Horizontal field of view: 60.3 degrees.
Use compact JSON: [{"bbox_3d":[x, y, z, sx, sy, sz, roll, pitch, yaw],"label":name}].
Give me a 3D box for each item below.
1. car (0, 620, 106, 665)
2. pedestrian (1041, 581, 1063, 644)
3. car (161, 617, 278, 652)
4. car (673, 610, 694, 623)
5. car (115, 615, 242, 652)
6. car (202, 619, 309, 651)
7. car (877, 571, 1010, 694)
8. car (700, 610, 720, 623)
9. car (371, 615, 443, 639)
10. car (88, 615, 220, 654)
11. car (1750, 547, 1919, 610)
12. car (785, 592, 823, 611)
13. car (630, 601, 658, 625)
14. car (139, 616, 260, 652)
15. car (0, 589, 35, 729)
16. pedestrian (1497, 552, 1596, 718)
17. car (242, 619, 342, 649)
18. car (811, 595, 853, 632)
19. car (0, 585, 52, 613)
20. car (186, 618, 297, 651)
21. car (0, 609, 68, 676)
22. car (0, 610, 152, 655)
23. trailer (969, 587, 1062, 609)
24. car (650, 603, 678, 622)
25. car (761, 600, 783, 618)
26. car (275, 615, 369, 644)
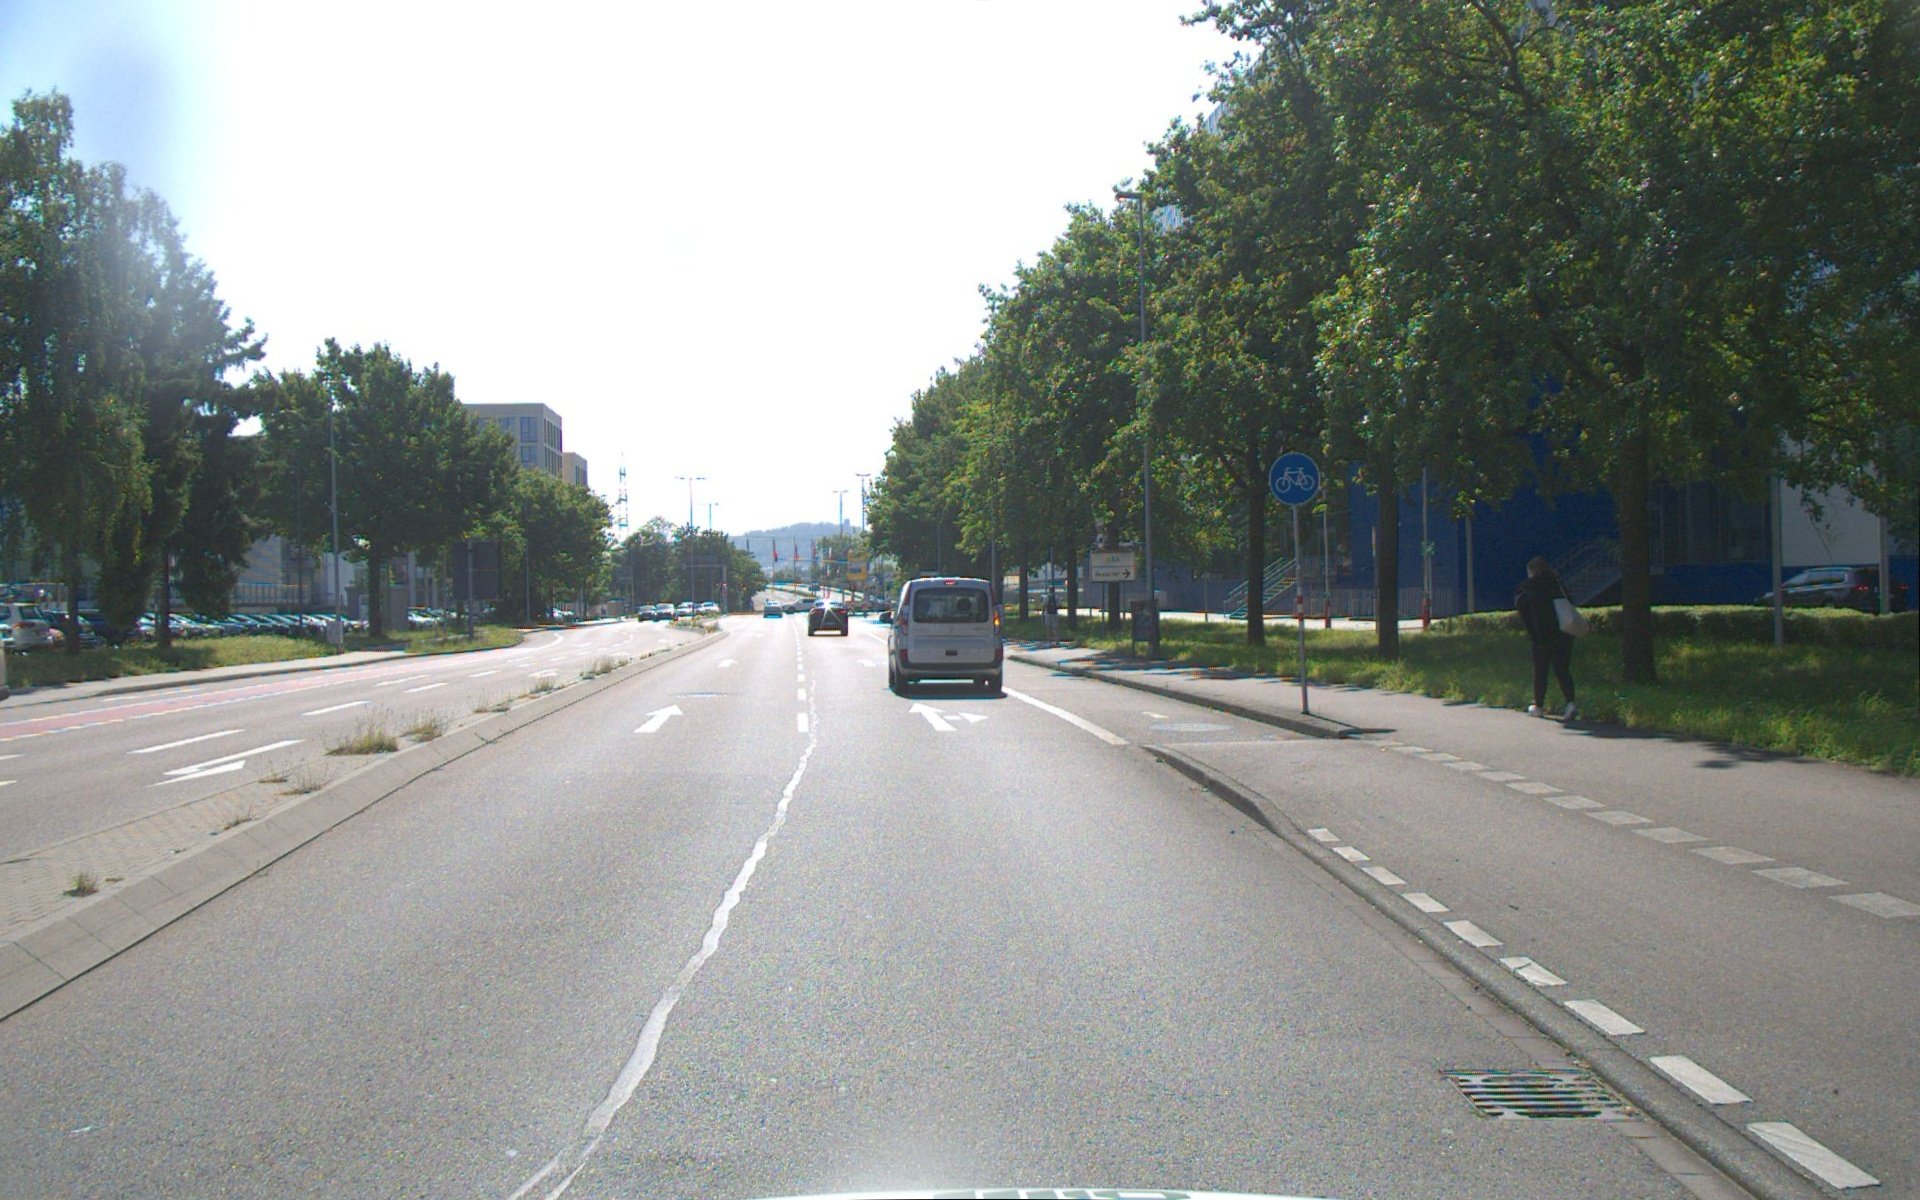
[{"bbox_3d":[-30.681,1.417,54.323,4.181,1.351,1.952,-2,0,-3],"label":"car"},{"bbox_3d":[2.775,0.386,49.911,0.524,1.874,0.727,-1,0,-5],"label":"pedestrian"},{"bbox_3d":[-32.444,1.495,72.554,4.181,1.374,1.952,-2,0,-3],"label":"car"},{"bbox_3d":[-33.543,1.967,200.850,1.853,1.489,3.999,-2,0,-1],"label":"car"},{"bbox_3d":[-31.848,1.345,67.488,4.181,1.374,1.952,-2,0,-3],"label":"car"},{"bbox_3d":[-33.148,1.649,77.955,4.181,1.374,1.952,-2,0,-3],"label":"car"},{"bbox_3d":[-0.354,0.506,27.715,1.868,1.861,4.175,-2,0,-5],"label":"car"},{"bbox_3d":[-30.557,1.982,202.340,1.779,1.489,3.999,-2,0,-1],"label":"car"},{"bbox_3d":[-35.205,1.692,105.327,3.963,1.400,2.023,-2,0,-6],"label":"car"},{"bbox_3d":[-31.467,1.350,64.659,4.181,1.374,1.952,-2,0,-3],"label":"car"},{"bbox_3d":[23.289,-0.532,44.123,1.870,1.547,4.366,-2,0,-8],"label":"car"},{"bbox_3d":[-17.652,0.187,186.797,3.928,2.049,1.989,1,1,-20],"label":"car"},{"bbox_3d":[-28.467,1.167,149.001,1.954,2.048,3.997,1,1,-4],"label":"car"},{"bbox_3d":[-32.127,1.434,69.996,4.181,1.374,1.952,-2,0,-3],"label":"car"},{"bbox_3d":[-14.978,0.900,22.348,1.953,2.049,5.345,-2,0,-1],"label":"car"},{"bbox_3d":[5.994,0.349,16.940,0.634,1.631,0.846,-2,0,-5],"label":"pedestrian"},{"bbox_3d":[-33.539,1.708,83.104,4.181,1.374,1.952,-2,0,-3],"label":"car"},{"bbox_3d":[-6.067,0.607,78.757,1.771,1.668,4.457,-2,0,-2],"label":"car"},{"bbox_3d":[-49.652,-0.016,85.552,4.183,1.374,1.952,-2,0,-5],"label":"car"},{"bbox_3d":[-32.586,1.553,75.100,4.181,1.374,1.952,-2,0,-3],"label":"car"},{"bbox_3d":[-29.087,1.273,49.011,4.181,1.917,1.952,-1,0,-3],"label":"car"},{"bbox_3d":[-30.543,1.115,57.237,4.181,1.405,1.952,-2,0,-3],"label":"car"},{"bbox_3d":[6.958,-0.279,208.416,11.635,2.512,1.999,1,1,-4],"label":"trailer"},{"bbox_3d":[-24.770,1.024,138.552,1.806,1.489,4.994,-4,0,-5],"label":"car"},{"bbox_3d":[-18.307,0.848,161.501,1.955,1.713,3.996,-2,0,-5],"label":"car"},{"bbox_3d":[-33.790,1.573,87.685,4.181,1.374,1.952,-2,0,-3],"label":"car"}]
